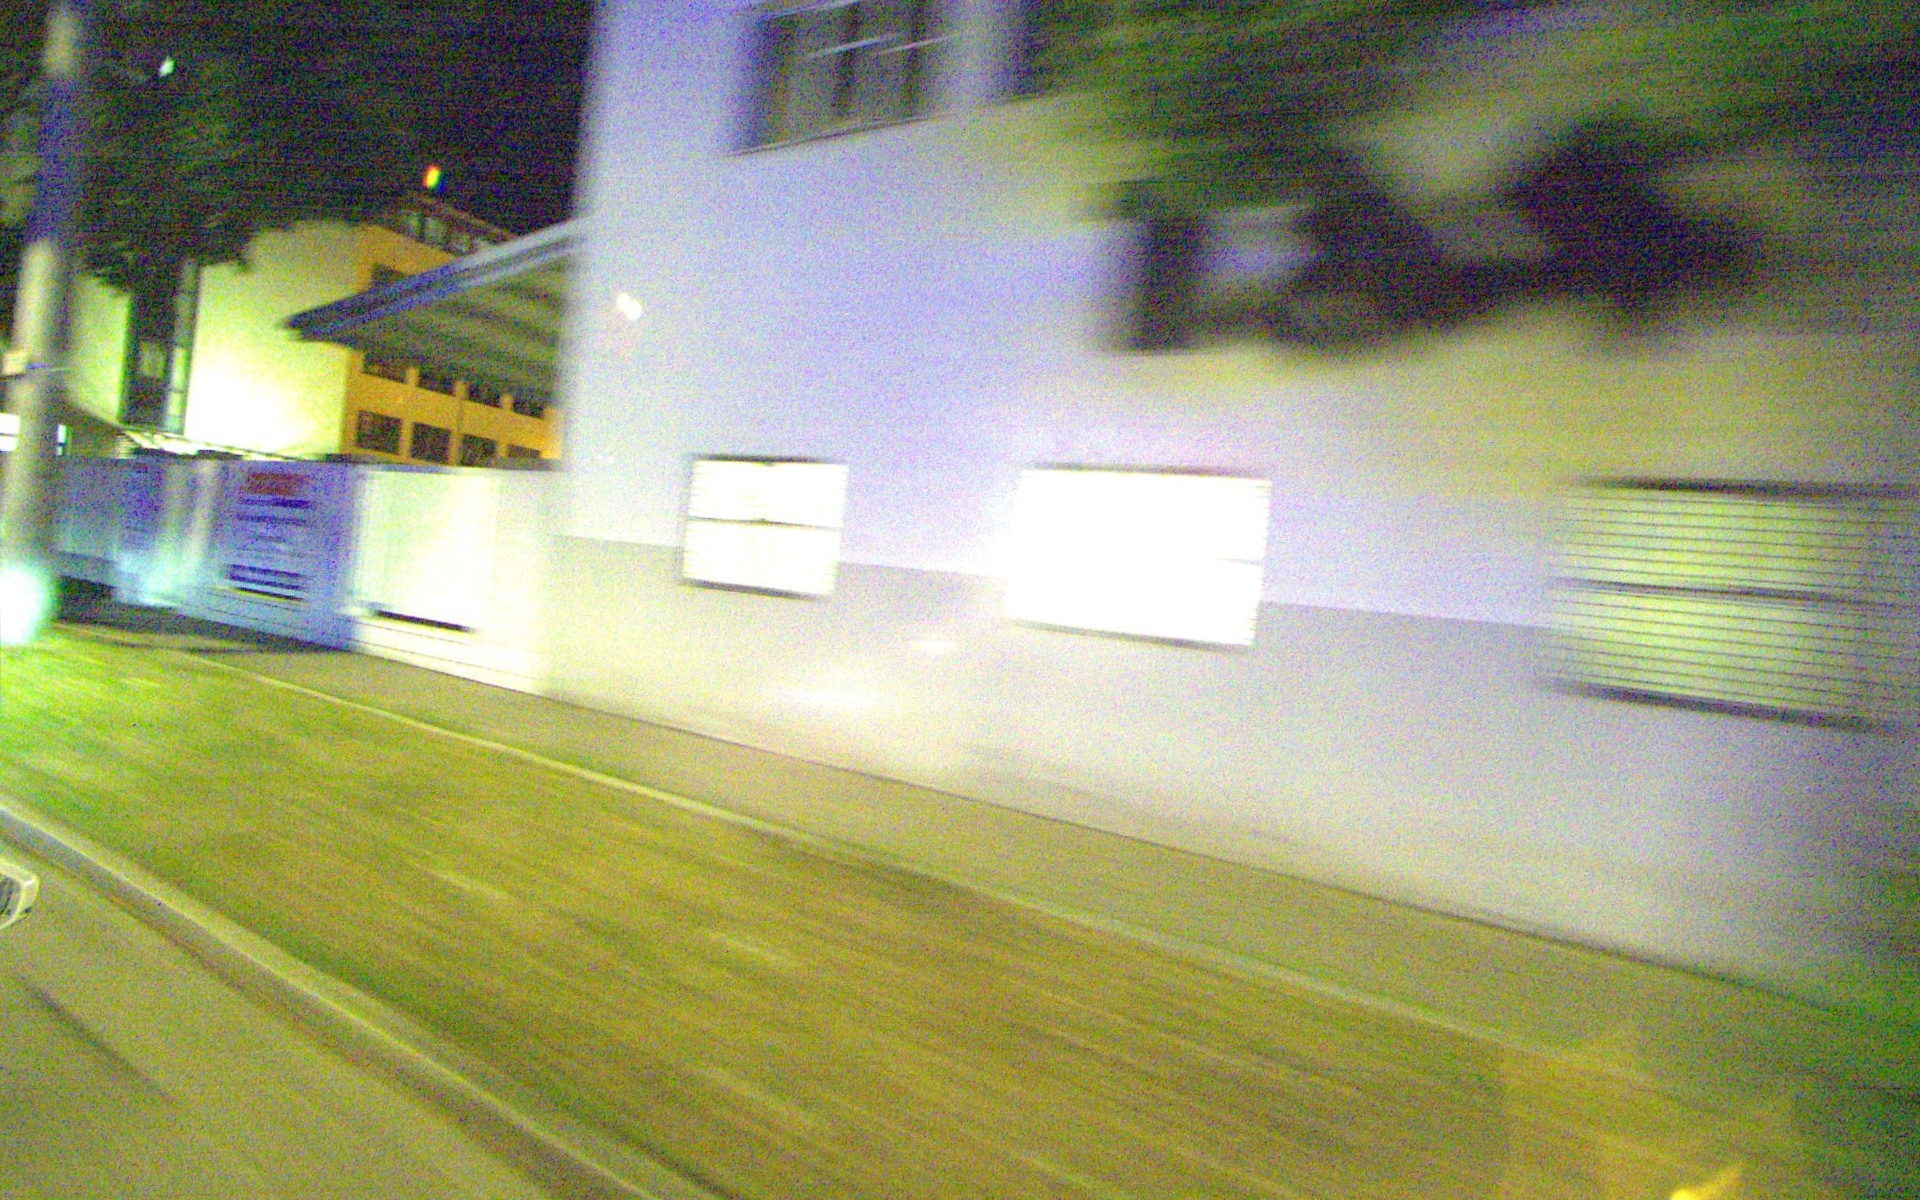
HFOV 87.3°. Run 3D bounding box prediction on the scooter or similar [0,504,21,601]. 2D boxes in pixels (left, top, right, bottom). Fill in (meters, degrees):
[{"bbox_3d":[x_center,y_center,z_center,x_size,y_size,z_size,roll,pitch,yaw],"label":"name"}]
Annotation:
[{"bbox_3d":[-13.076,-0.669,13.209,1.879,1.218,0.547,4,0,32],"label":"scooter or similar"}]
